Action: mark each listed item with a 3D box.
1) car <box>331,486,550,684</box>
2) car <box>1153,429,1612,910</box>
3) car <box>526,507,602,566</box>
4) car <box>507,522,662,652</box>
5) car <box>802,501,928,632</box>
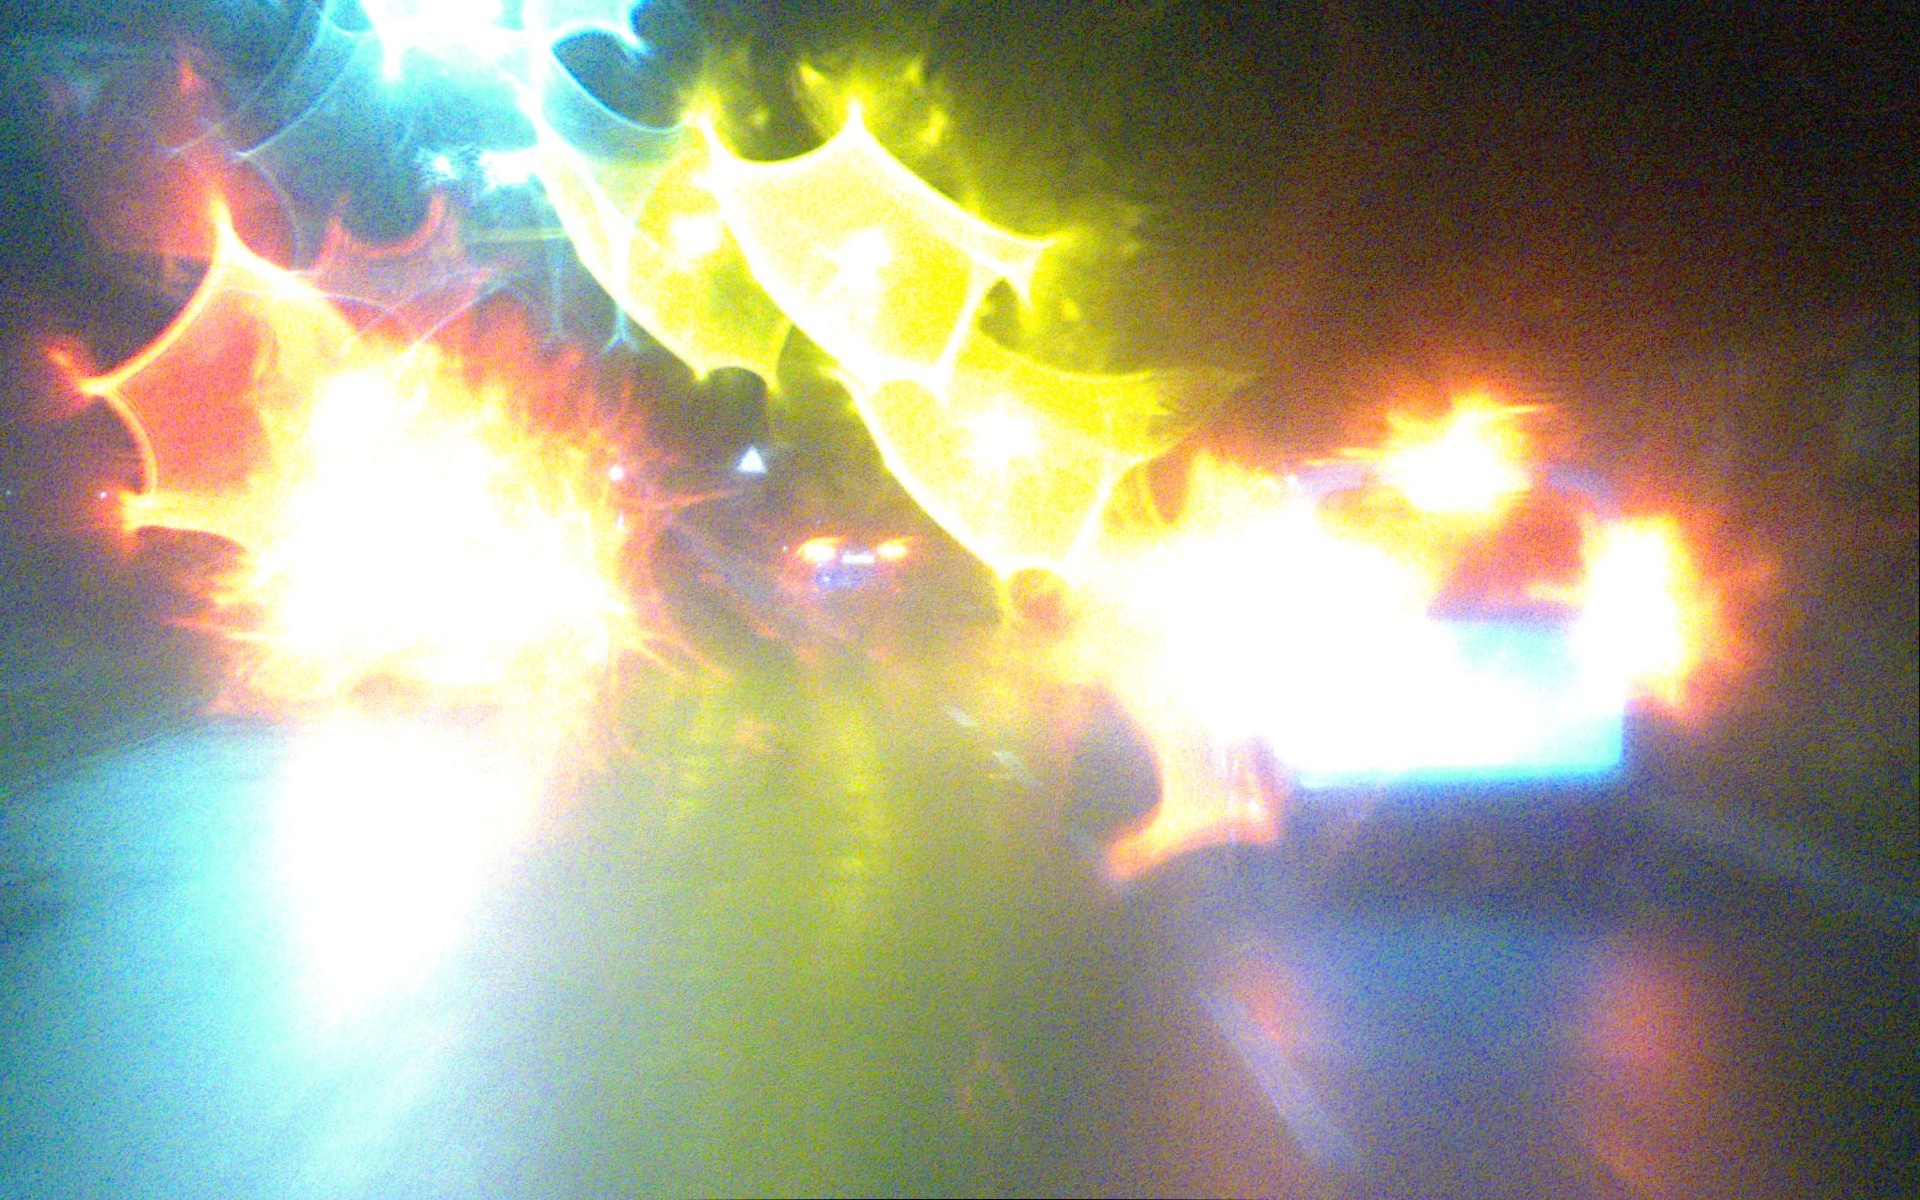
[{"bbox_3d":[-4.959,-0.187,33.300,1.783,1.776,4.437,0,1,-5],"label":"car"},{"bbox_3d":[1.912,0.275,16.827,1.791,2.015,4.579,1,0,2],"label":"car"},{"bbox_3d":[-12.907,-2.062,112.330,1.993,1.711,4.000,4,0,-1],"label":"car"},{"bbox_3d":[-4.596,-0.201,42.535,1.783,1.506,4.437,-1,1,-5],"label":"car"},{"bbox_3d":[-1.572,-0.567,55.365,1.791,2.015,4.580,0,1,-4],"label":"car"}]
